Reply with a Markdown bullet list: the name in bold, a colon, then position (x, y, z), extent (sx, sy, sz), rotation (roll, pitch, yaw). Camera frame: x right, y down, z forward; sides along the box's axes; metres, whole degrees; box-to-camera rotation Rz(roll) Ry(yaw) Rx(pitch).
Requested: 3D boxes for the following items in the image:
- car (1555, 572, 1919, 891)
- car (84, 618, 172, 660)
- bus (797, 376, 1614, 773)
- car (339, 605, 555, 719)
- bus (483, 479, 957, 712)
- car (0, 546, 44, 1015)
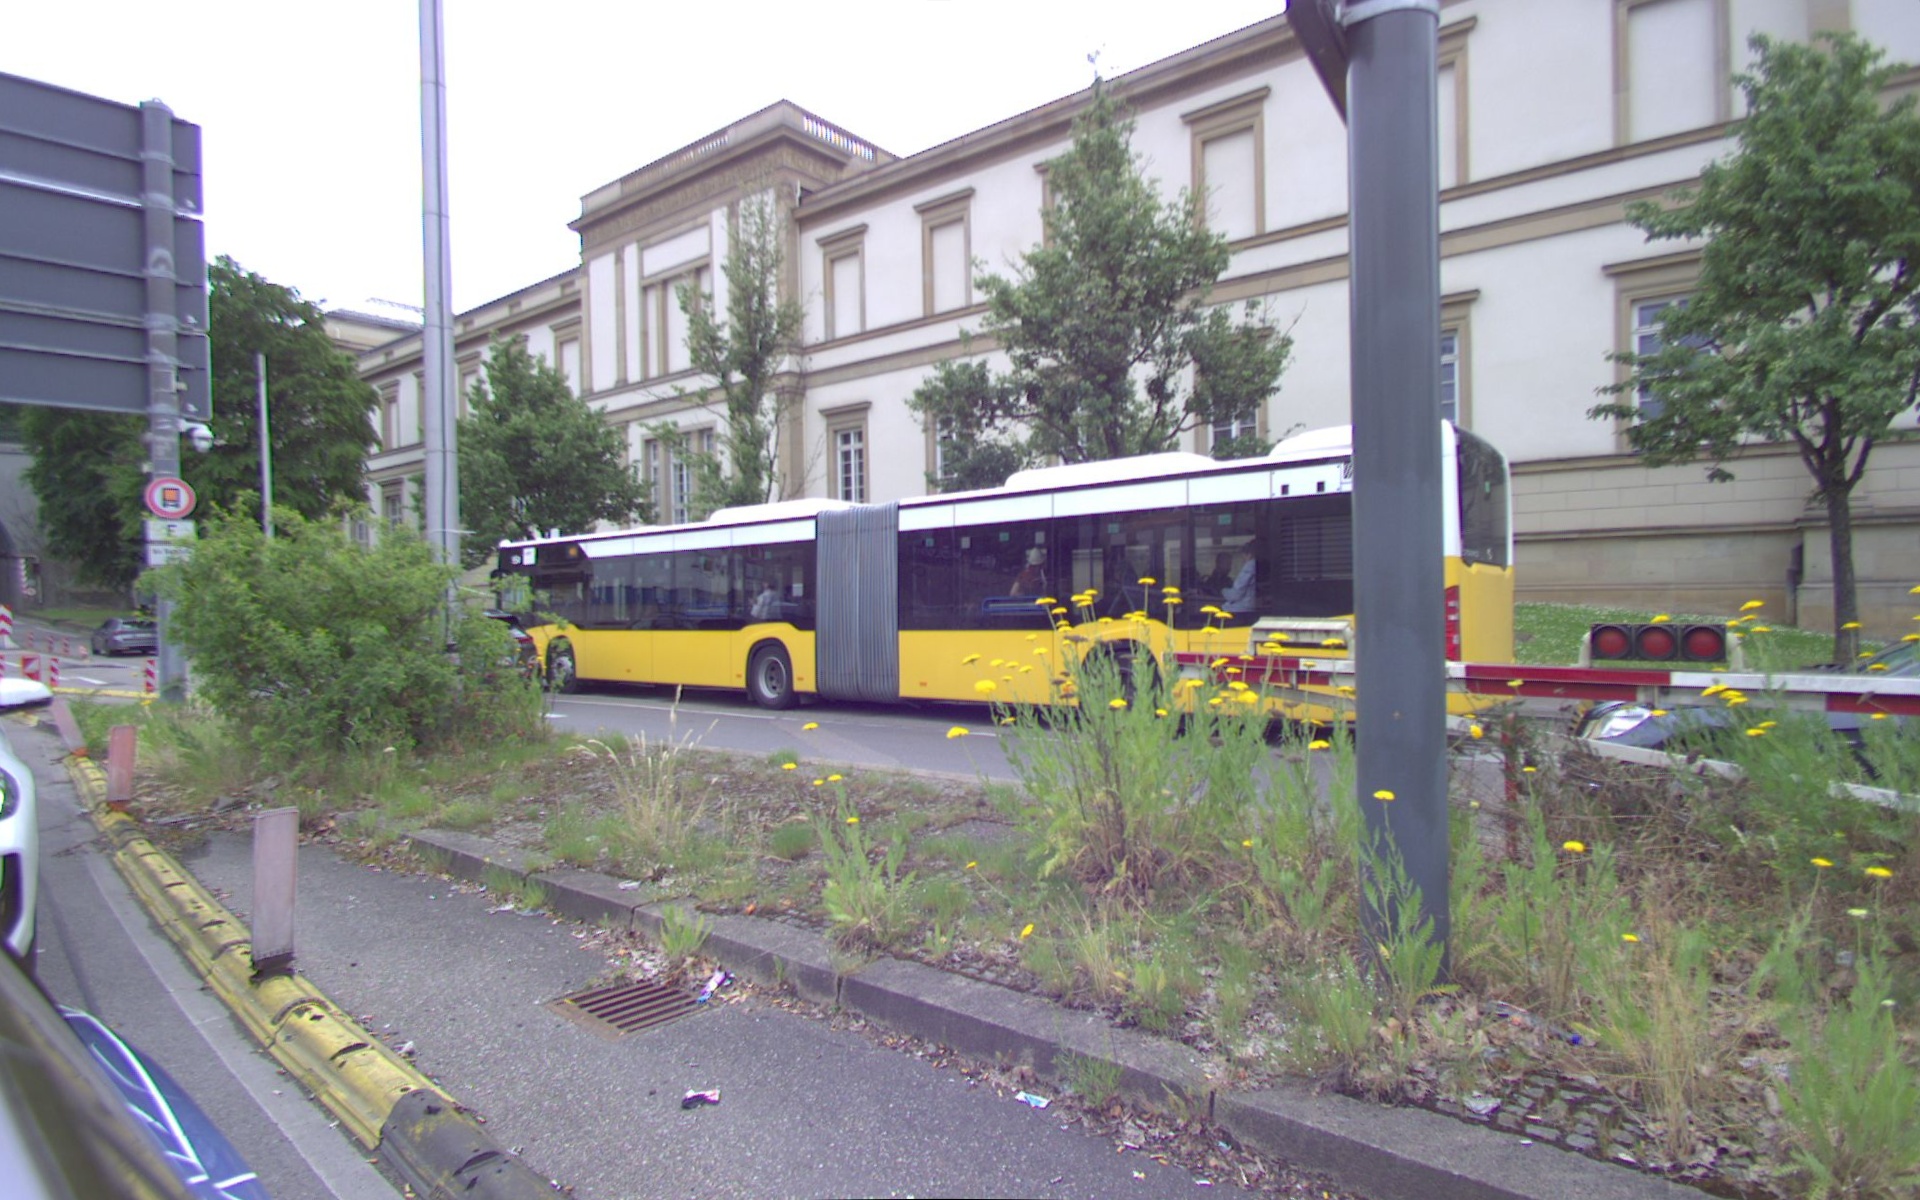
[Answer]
- **car**: position (5.630, 0.583, 4.804), extent (4.625, 1.482, 1.684), rotation (-1, 0, 40)
- **car**: position (-31.874, 1.479, 38.741), extent (4.282, 1.525, 1.690), rotation (-1, -2, 38)
- **bus**: position (2.171, -0.139, 12.042), extent (9.115, 3.137, 2.817), rotation (-1, 0, 40)
- **car**: position (-8.323, 0.919, 16.303), extent (3.879, 1.601, 1.680), rotation (-1, 0, 40)
- **bus**: position (-4.706, 0.007, 17.874), extent (9.739, 3.137, 2.817), rotation (-1, 0, 40)
- **car**: position (-5.262, 0.671, 4.171), extent (3.881, 1.603, 1.824), rotation (-2, 0, 42)
